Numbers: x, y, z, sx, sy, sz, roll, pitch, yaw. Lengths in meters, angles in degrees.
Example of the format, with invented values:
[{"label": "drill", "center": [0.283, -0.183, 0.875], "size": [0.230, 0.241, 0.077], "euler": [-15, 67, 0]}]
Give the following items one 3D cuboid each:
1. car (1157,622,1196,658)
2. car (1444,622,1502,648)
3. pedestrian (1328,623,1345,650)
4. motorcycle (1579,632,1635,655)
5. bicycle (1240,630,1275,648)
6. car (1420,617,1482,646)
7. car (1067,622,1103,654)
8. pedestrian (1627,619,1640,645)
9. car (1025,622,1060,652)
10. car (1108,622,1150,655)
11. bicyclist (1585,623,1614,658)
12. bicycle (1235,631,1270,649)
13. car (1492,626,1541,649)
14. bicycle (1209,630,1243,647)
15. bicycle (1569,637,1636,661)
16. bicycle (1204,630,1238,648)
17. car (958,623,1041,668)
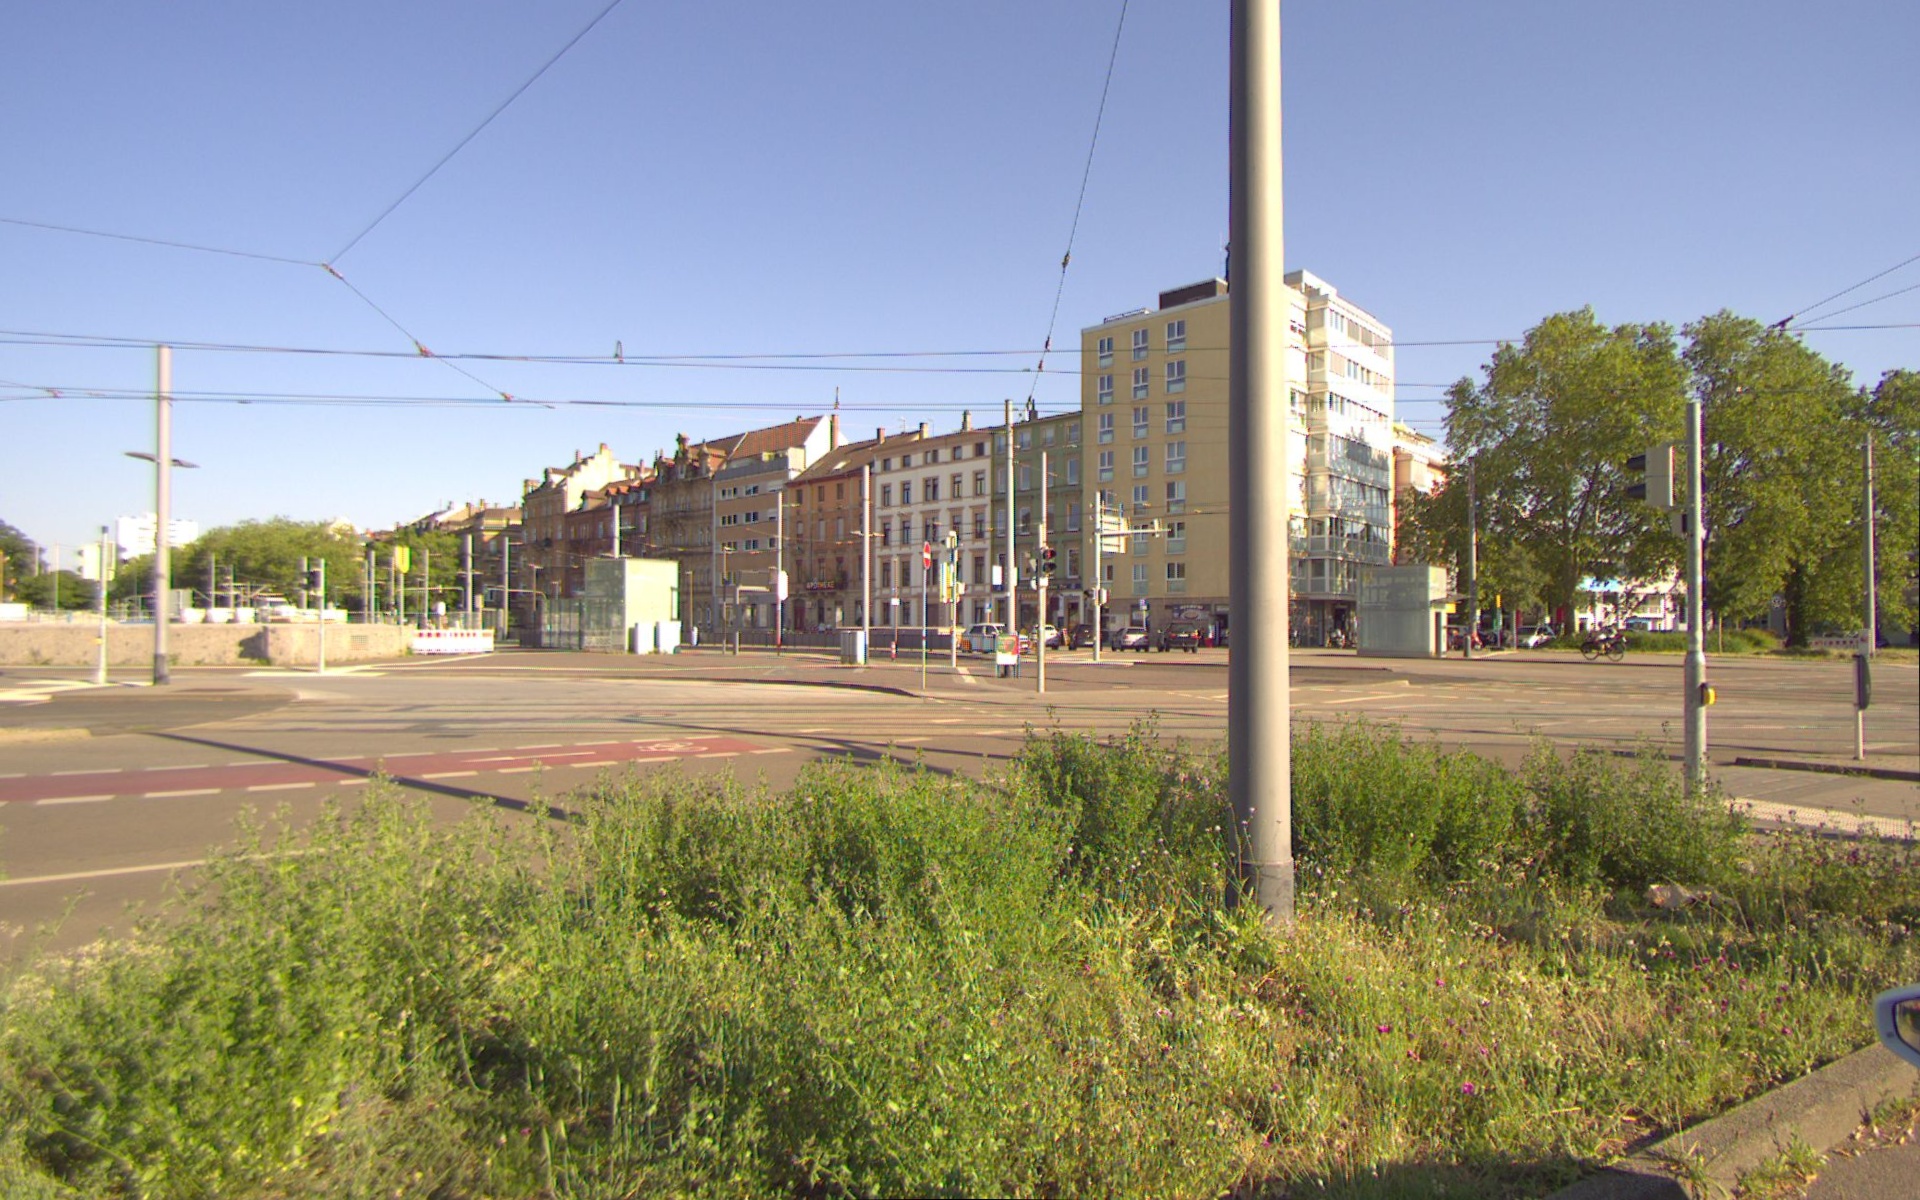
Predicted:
[{"label": "car", "center": [12.502, 2.263, 58.155], "size": [1.815, 1.882, 4.002], "euler": [-1, 0, 7]}, {"label": "car", "center": [39.045, 2.647, 76.536], "size": [3.926, 1.882, 1.850], "euler": [-1, 0, 26]}, {"label": "pedestrian", "center": [23.635, 2.284, 63.038], "size": [0.768, 1.698, 0.778], "euler": [-1, -2, 44]}, {"label": "motorcycle", "center": [32.318, 2.160, 50.220], "size": [0.682, 1.068, 2.264], "euler": [-1, 1, -41]}, {"label": "bicycle", "center": [18.971, 2.488, 64.071], "size": [2.019, 1.104, 0.773], "euler": [-1, -2, 42]}, {"label": "car", "center": [35.418, 2.239, 72.499], "size": [3.926, 2.040, 1.998], "euler": [0, -1, 26]}, {"label": "car", "center": [7.702, 2.331, 62.230], "size": [1.803, 1.742, 4.001], "euler": [-1, 0, 2]}, {"label": "pedestrian", "center": [54.272, 2.568, 80.952], "size": [0.702, 2.040, 0.586], "euler": [1, -1, -29]}, {"label": "car", "center": [5.261, 2.352, 64.779], "size": [2.045, 1.742, 4.011], "euler": [-1, 0, 2]}, {"label": "car", "center": [10.045, 2.296, 60.042], "size": [1.803, 1.772, 4.000], "euler": [-1, 0, 0]}, {"label": "bicyclist", "center": [29.309, 1.828, 46.036], "size": [0.957, 1.580, 0.914], "euler": [1, -2, -44]}, {"label": "bicycle", "center": [18.449, 2.498, 63.405], "size": [2.019, 1.104, 0.773], "euler": [-1, -2, 42]}, {"label": "car", "center": [36.941, 2.471, 66.657], "size": [1.828, 1.471, 3.975], "euler": [0, -1, 45]}, {"label": "bicycle", "center": [17.365, 2.502, 65.567], "size": [2.019, 1.104, 0.773], "euler": [-1, -2, 42]}, {"label": "bicycle", "center": [29.388, 2.223, 45.960], "size": [0.956, 1.016, 2.414], "euler": [1, -2, -44]}, {"label": "bicycle", "center": [16.853, 2.513, 64.859], "size": [2.019, 1.104, 0.773], "euler": [-1, -2, 42]}, {"label": "car", "center": [1.952, 2.234, 50.008], "size": [3.692, 2.040, 1.989], "euler": [0, 1, 42]}]
